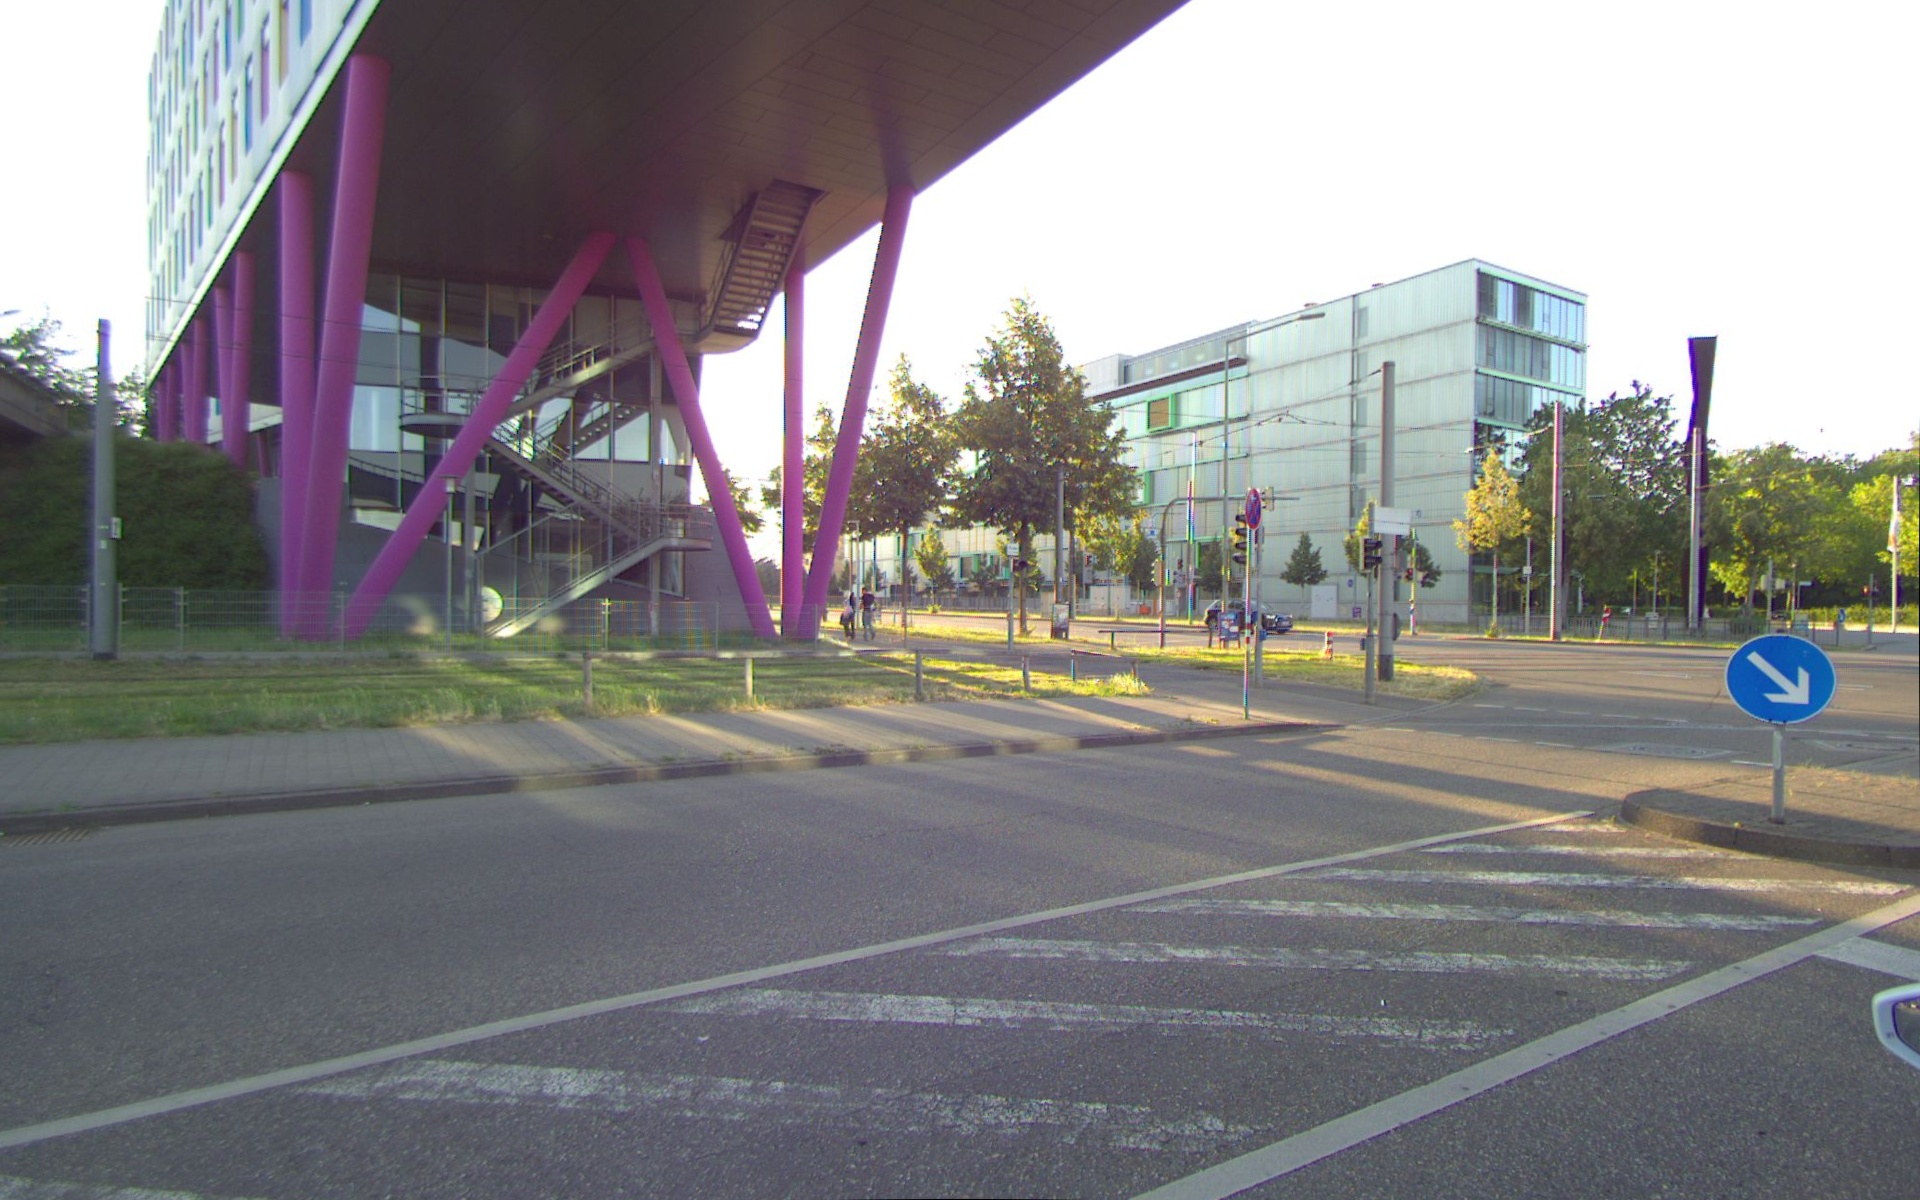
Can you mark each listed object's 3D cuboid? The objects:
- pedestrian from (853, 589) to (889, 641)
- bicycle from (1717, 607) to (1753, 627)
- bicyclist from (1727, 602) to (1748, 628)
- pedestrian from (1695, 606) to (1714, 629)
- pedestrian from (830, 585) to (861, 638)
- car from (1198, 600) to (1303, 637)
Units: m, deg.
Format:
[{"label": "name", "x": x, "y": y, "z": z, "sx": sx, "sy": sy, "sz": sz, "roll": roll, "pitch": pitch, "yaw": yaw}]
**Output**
[{"label": "pedestrian", "x": -3.015, "y": 0.527, "z": 34.049, "sx": 0.923, "sy": 1.747, "sz": 0.875, "roll": 1, "pitch": -2, "yaw": -33}, {"label": "bicycle", "x": 52.464, "y": 1.142, "z": 68.048, "sx": 0.717, "sy": 1.359, "sz": 2.692, "roll": 1, "pitch": 0, "yaw": 10}, {"label": "bicyclist", "x": 52.442, "y": 1.006, "z": 67.729, "sx": 0.738, "sy": 1.732, "sz": 0.920, "roll": 1, "pitch": 0, "yaw": 11}, {"label": "pedestrian", "x": 58.487, "y": 1.355, "z": 78.937, "sx": 0.813, "sy": 1.767, "sz": 0.863, "roll": 1, "pitch": 0, "yaw": 6}, {"label": "pedestrian", "x": -3.843, "y": 0.403, "z": 33.685, "sx": 0.754, "sy": 1.727, "sz": 0.881, "roll": 1, "pitch": -2, "yaw": -28}, {"label": "car", "x": 13.297, "y": 0.807, "z": 46.202, "sx": 1.968, "sy": 1.577, "sz": 4.448, "roll": 1, "pitch": 0, "yaw": -34}]
